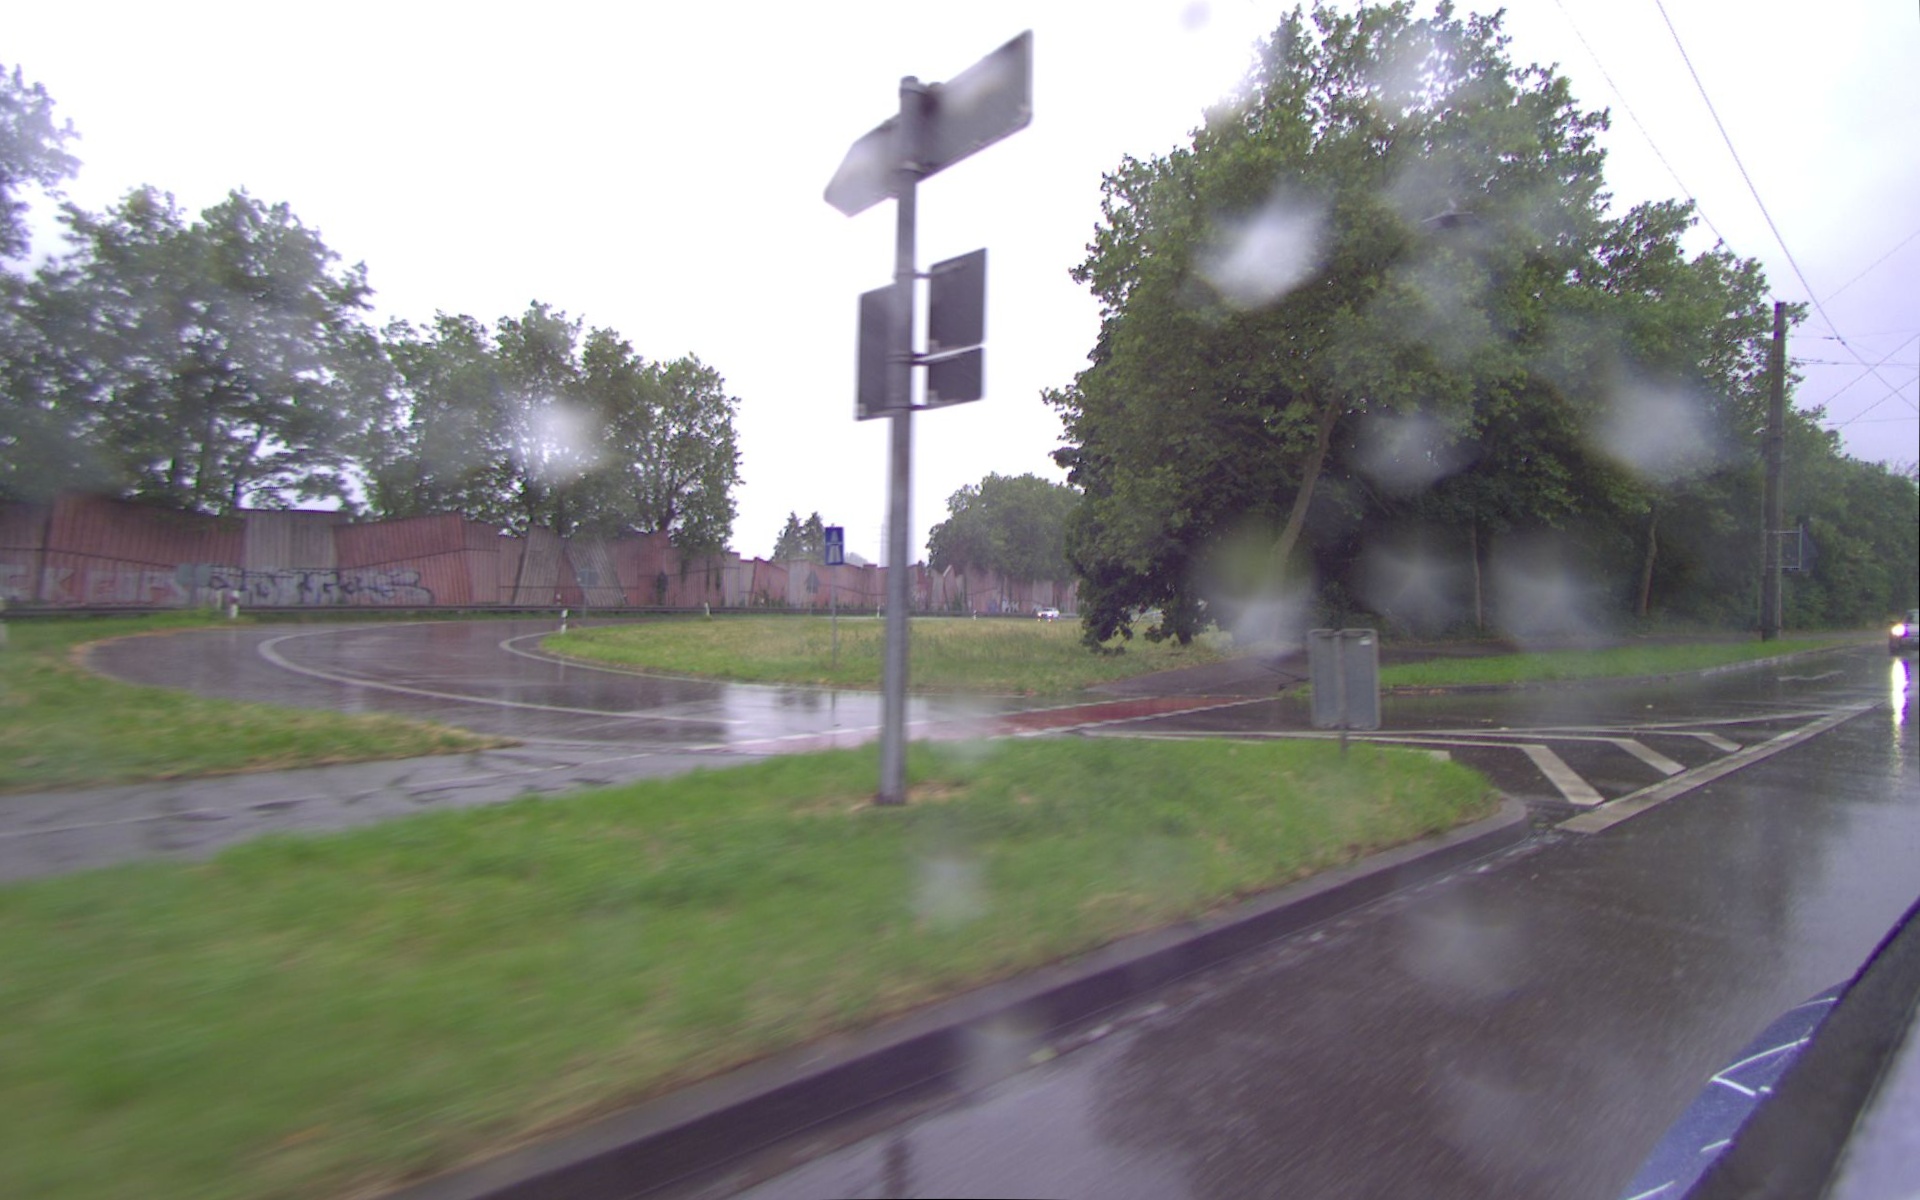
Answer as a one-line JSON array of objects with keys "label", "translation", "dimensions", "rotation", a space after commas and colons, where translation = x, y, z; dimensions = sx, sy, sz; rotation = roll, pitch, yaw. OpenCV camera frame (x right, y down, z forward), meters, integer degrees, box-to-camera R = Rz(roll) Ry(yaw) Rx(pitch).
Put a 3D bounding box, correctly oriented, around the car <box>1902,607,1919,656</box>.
[{"label": "car", "translation": [31.421, 1.011, 32.181], "dimensions": [3.931, 1.437, 1.750], "rotation": [0, 2, -41]}]
